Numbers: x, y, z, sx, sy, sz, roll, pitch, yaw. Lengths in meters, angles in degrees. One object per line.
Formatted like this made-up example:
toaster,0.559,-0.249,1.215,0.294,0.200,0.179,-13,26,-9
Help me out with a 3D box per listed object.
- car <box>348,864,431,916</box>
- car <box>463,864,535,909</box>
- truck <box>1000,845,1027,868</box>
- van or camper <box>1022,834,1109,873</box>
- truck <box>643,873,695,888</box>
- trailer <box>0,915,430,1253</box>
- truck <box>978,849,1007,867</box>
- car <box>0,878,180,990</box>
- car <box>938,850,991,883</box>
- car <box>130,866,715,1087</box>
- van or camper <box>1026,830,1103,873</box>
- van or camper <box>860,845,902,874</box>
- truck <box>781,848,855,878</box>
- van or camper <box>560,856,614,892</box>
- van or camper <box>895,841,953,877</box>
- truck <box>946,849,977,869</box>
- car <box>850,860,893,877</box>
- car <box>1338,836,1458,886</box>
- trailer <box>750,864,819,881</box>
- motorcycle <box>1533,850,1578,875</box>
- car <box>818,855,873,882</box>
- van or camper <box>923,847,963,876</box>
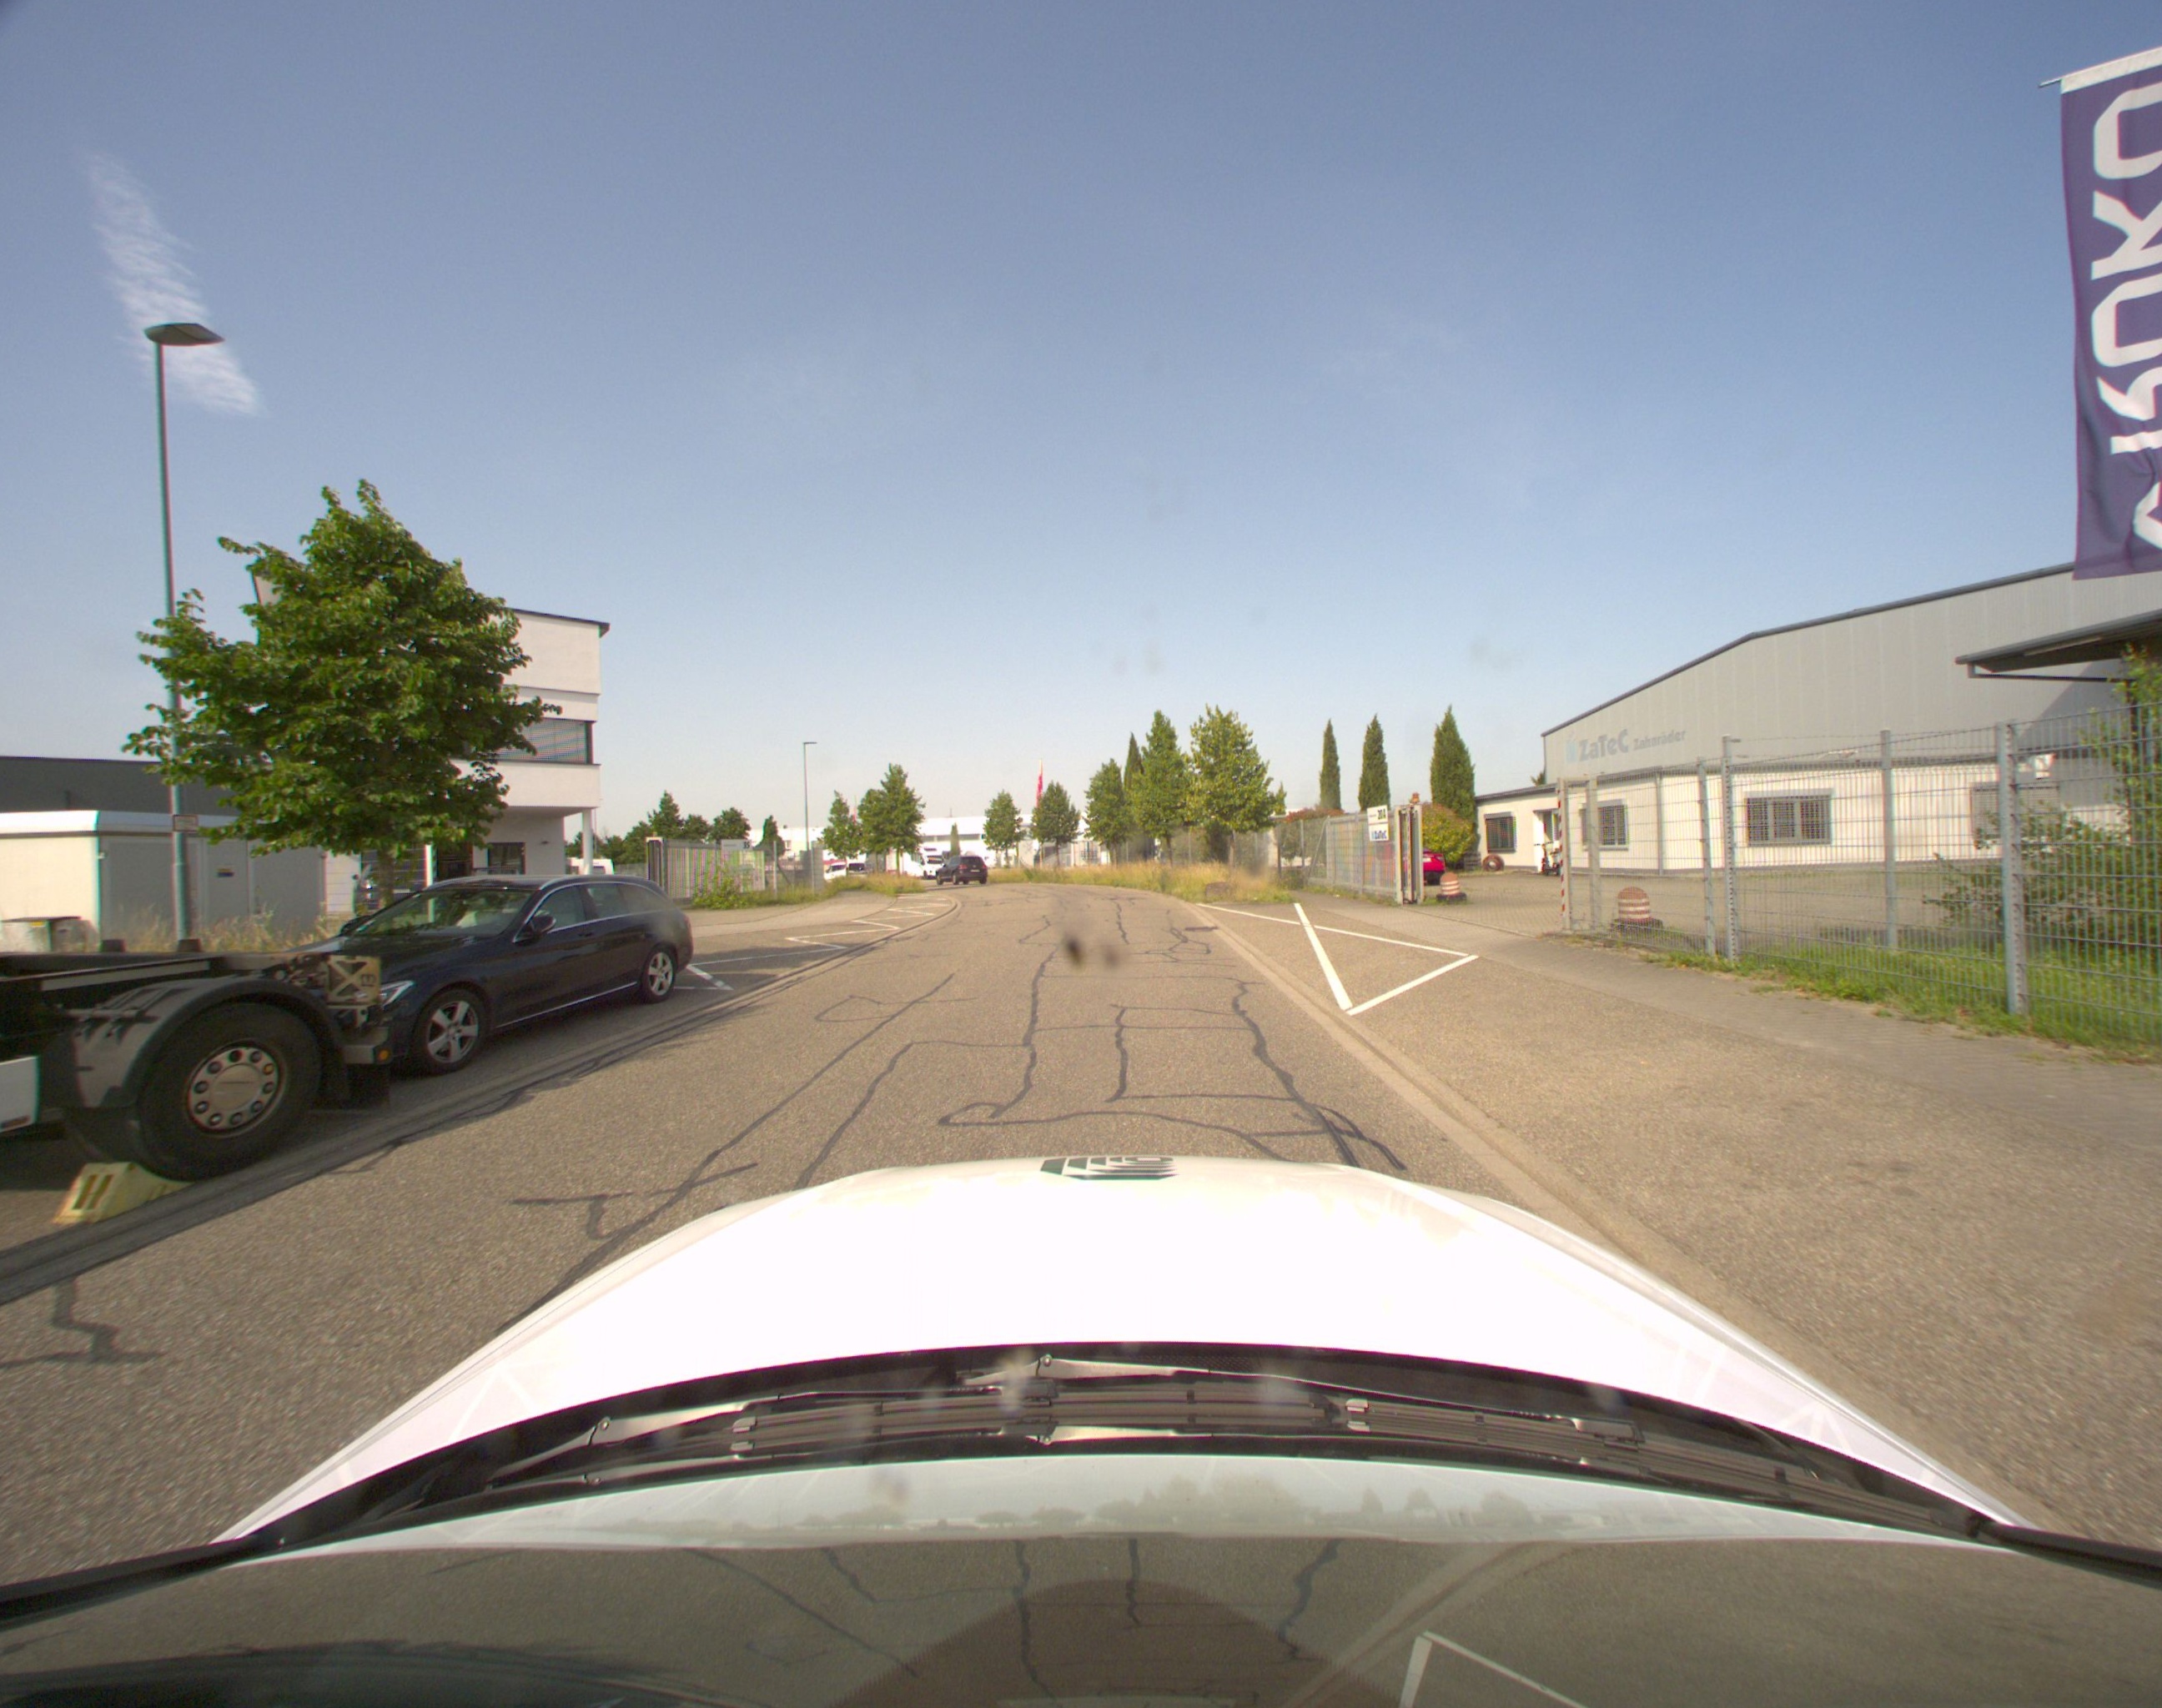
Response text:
car,-22.529,1.143,26.483,1.879,1.487,3.951,-2,0,-43
car,-20.633,1.127,28.813,1.572,1.415,3.873,-2,0,-43
truck,-8.909,0.313,108.624,2.440,2.826,8.009,-2,0,3
van or camper,-1.331,-0.022,69.969,7.245,3.032,2.581,-2,-1,-4
truck,-37.982,2.442,74.972,2.547,1.265,6.446,-2,0,-44
trailer,-5.647,1.060,1.932,2.121,1.232,7.164,0,0,3
truck,-11.742,0.558,108.763,2.440,2.265,8.009,-2,0,3
car,-16.795,1.254,12.232,1.766,1.525,4.300,-2,1,-3
car,-6.889,0.746,47.793,2.003,1.805,3.967,0,-1,-25
car,-5.692,0.905,8.010,1.985,1.466,4.436,0,0,3
van or camper,-1.299,-0.103,58.443,2.363,2.848,7.273,-1,-1,-29
van or camper,-22.966,0.602,93.994,2.650,3.084,6.803,-2,0,4
truck,-36.461,1.240,113.154,9.254,3.972,2.458,-2,0,-1
van or camper,-37.720,1.555,62.127,4.891,2.560,2.327,-2,0,44
van or camper,-13.769,0.496,71.031,2.348,2.943,6.895,-2,0,-35
truck,-15.525,0.584,106.219,2.440,2.471,8.009,-2,0,3
car,-20.229,1.407,78.844,2.148,1.476,4.018,-2,0,17
car,9.886,0.208,25.861,1.875,1.358,4.771,-2,0,-1
trailer,-28.351,1.800,77.676,2.647,1.388,9.338,-5,2,-43
motorcycle,15.072,0.257,25.916,0.532,0.751,1.584,-3,0,2
car,-18.167,1.122,62.663,4.410,1.899,2.012,-2,0,43
van or camper,-13.296,0.680,78.936,2.473,2.558,6.630,-2,0,2
